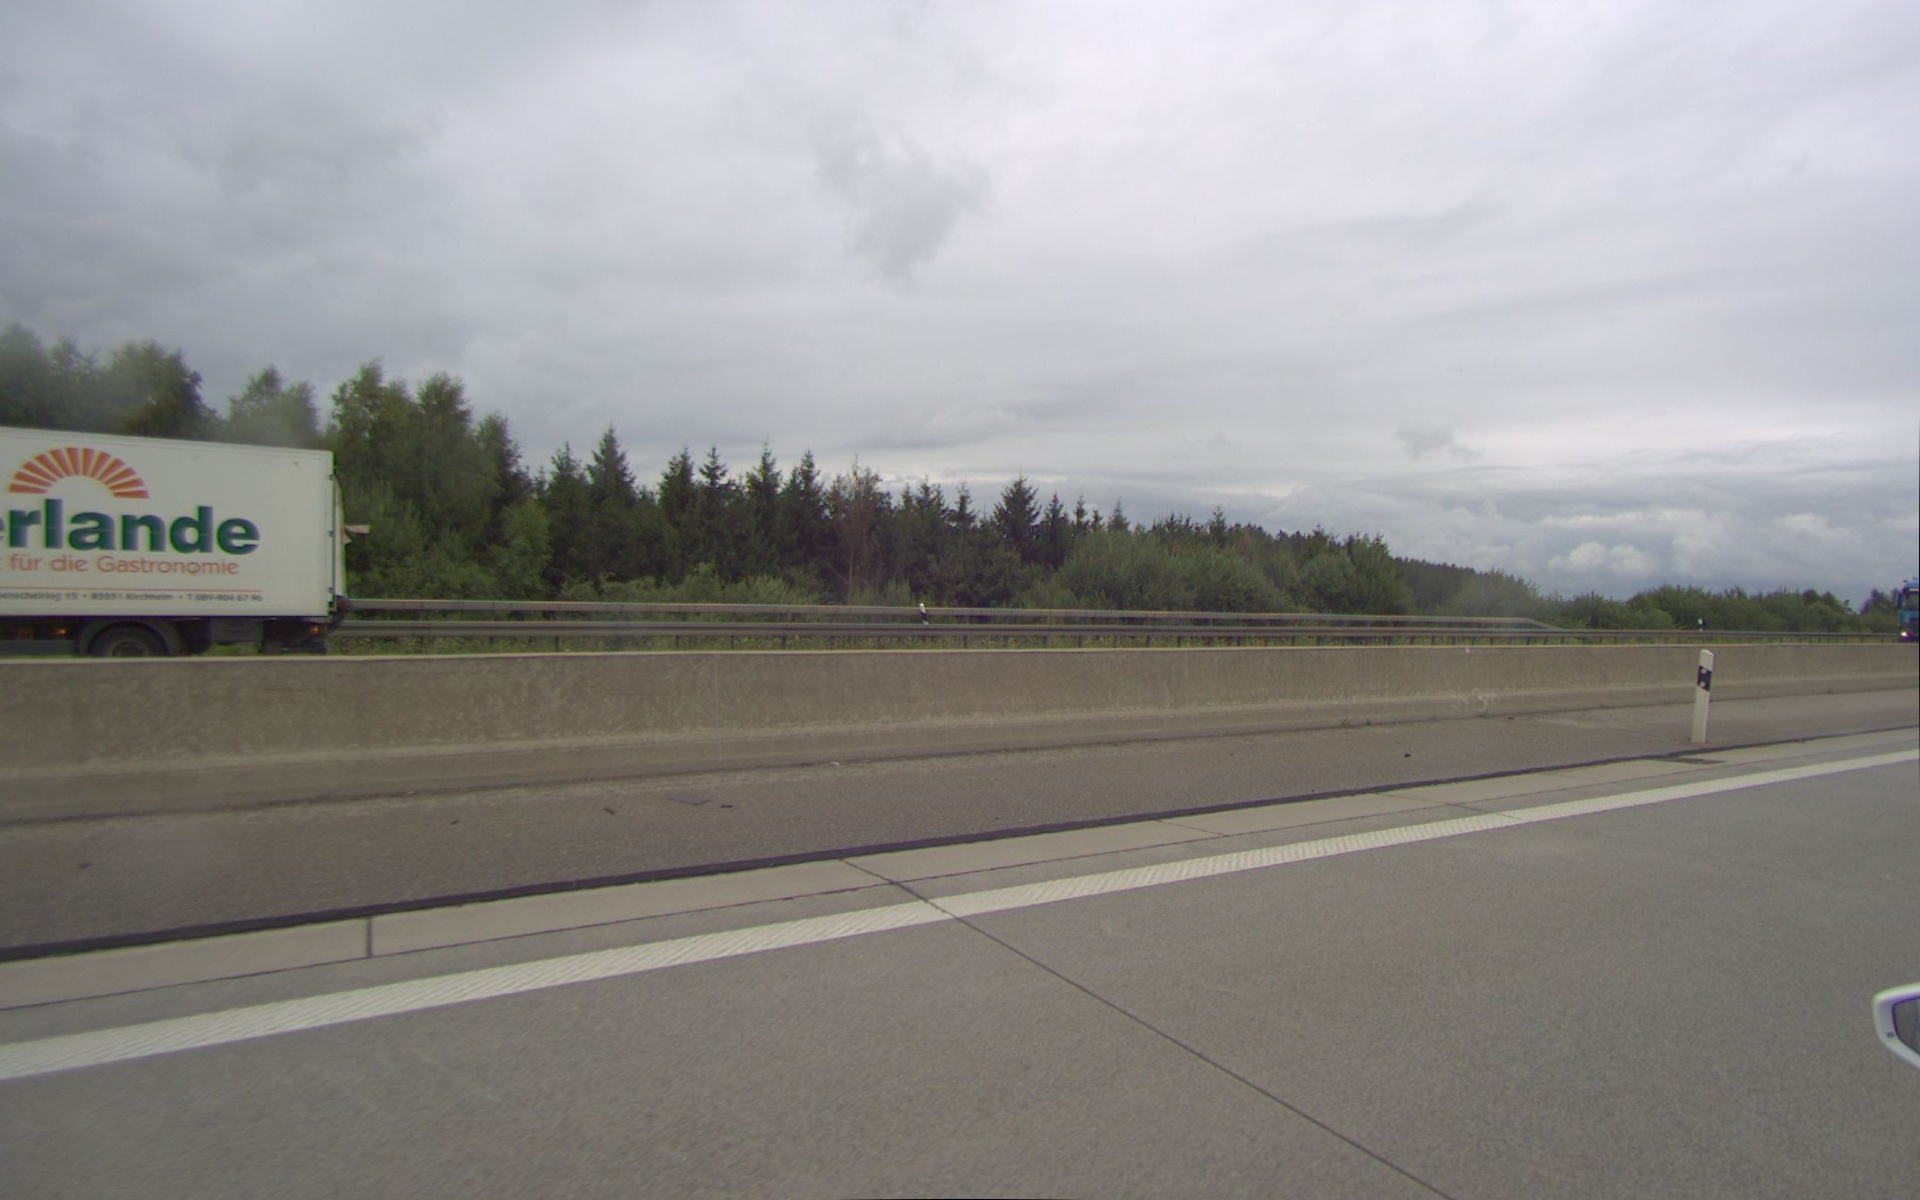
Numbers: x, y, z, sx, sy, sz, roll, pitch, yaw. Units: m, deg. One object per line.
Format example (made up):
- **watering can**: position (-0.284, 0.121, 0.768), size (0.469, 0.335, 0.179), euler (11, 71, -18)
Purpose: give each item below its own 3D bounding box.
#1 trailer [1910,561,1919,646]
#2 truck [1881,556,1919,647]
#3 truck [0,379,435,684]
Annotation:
- **trailer**: position (59.241, 0.340, 57.950), size (13.481, 4.687, 2.901), euler (1, 0, -31)
- **truck**: position (51.942, 0.134, 53.460), size (5.174, 4.739, 2.912), euler (1, 0, -32)
- **truck**: position (-12.567, -0.883, 14.390), size (8.797, 3.915, 2.884), euler (1, 0, -31)
